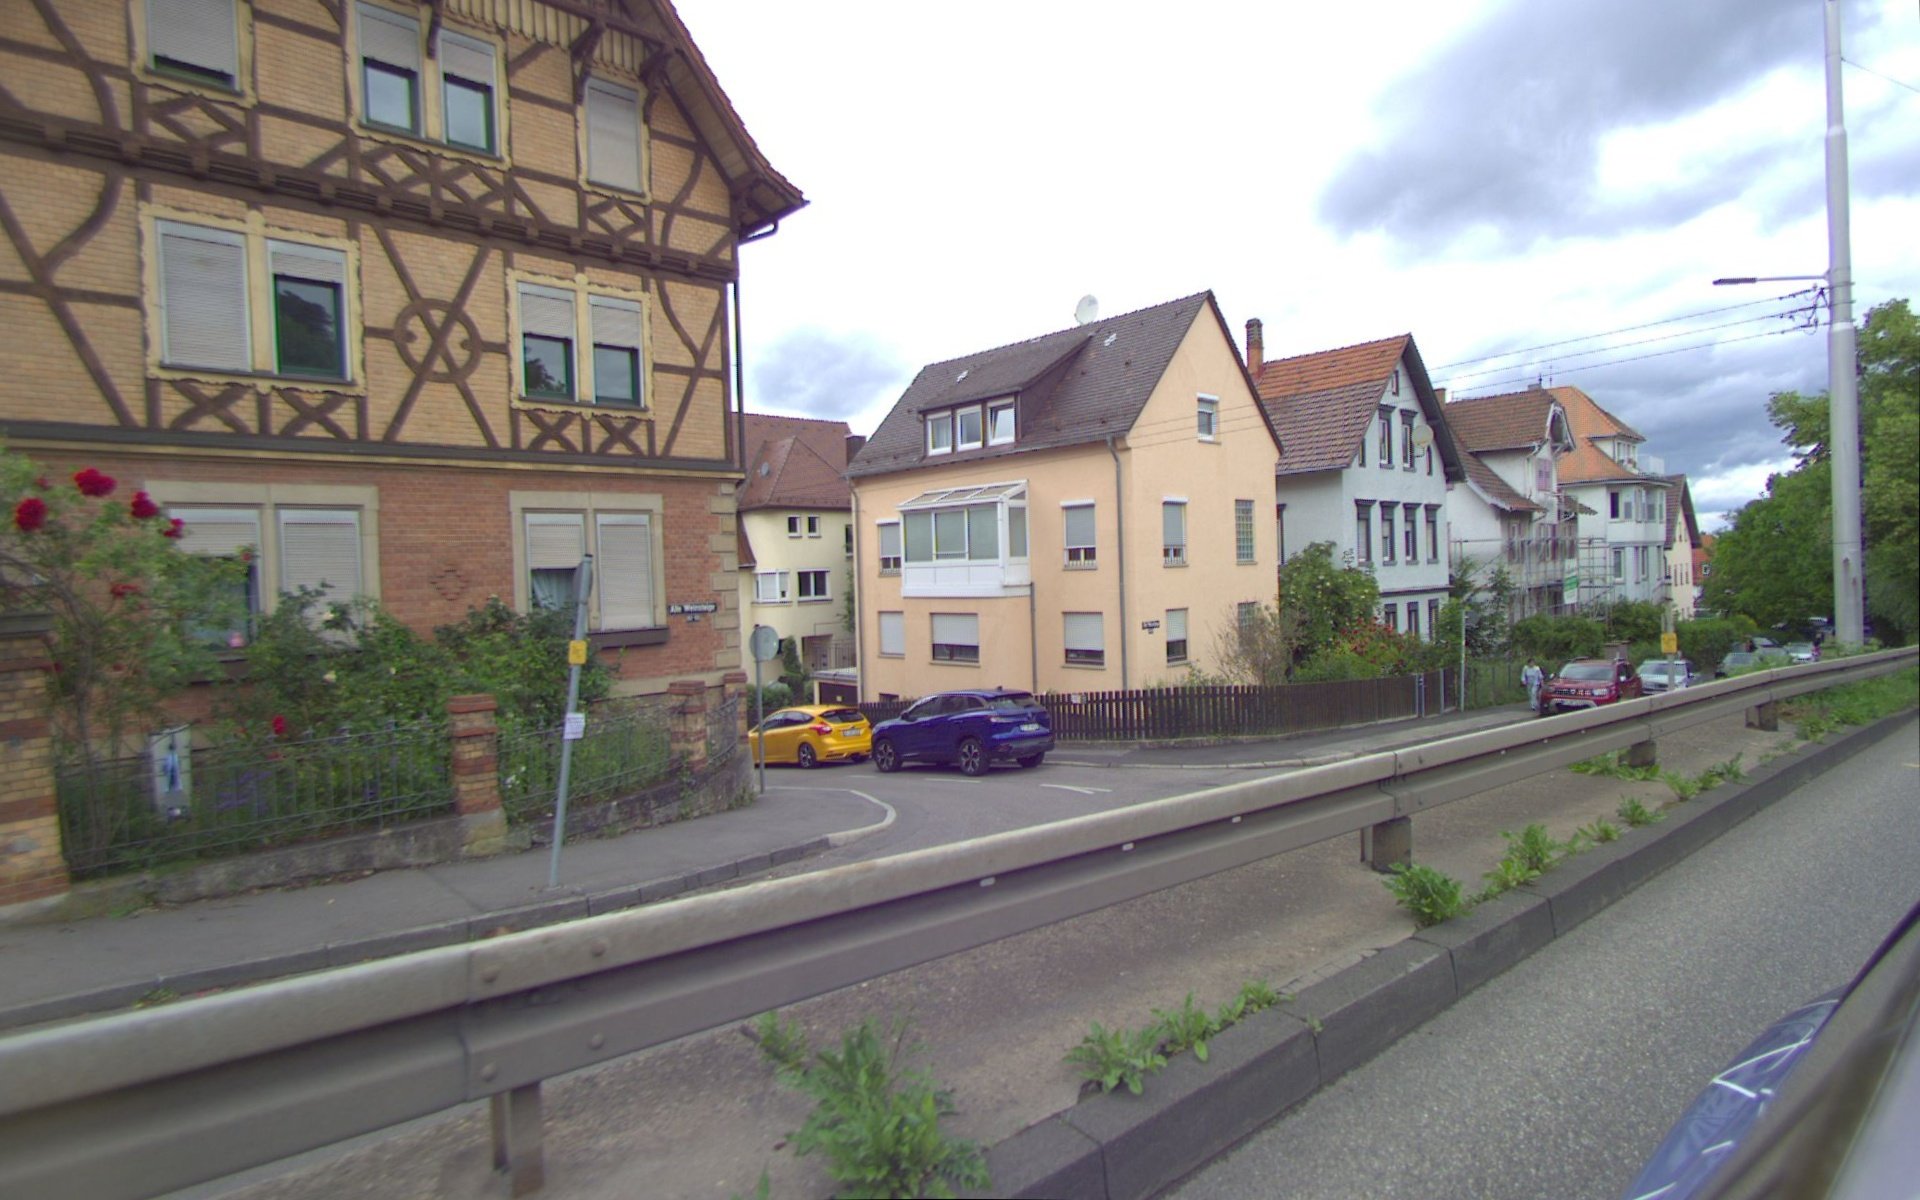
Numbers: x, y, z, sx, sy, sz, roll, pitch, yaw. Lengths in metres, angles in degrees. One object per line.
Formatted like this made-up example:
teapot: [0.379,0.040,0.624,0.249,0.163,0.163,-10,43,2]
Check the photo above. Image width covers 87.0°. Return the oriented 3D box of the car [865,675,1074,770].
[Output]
car: [0.112,2.528,20.635,1.967,1.595,3.987,1,-8,-44]

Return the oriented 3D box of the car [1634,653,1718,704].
car: [24.387,2.619,34.426,4.360,1.460,1.619,1,-2,-45]

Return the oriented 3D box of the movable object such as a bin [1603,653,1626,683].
movable object such as a bin: [26.044,2.697,40.279,0.528,1.092,0.580,0,2,-38]

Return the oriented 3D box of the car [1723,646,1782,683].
car: [35.764,2.878,45.626,3.991,1.467,1.619,1,-2,-45]

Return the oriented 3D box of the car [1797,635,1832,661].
car: [54.634,3.031,64.714,1.617,1.541,4.240,-1,-1,41]

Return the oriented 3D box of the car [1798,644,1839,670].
car: [51.094,3.362,60.180,1.645,1.413,3.710,-1,-2,43]

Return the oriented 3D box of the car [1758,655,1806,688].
car: [42.545,3.673,52.382,1.618,1.467,3.966,-1,-2,43]

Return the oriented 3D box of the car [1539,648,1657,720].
car: [17.660,2.244,27.949,4.132,1.692,1.783,1,-2,-44]

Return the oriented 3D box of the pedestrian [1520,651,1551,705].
pedestrian: [16.631,2.244,29.260,0.579,1.499,0.618,1,-2,-42]

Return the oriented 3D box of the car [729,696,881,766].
car: [-3.848,3.215,24.712,1.649,1.481,3.987,1,-7,-44]
